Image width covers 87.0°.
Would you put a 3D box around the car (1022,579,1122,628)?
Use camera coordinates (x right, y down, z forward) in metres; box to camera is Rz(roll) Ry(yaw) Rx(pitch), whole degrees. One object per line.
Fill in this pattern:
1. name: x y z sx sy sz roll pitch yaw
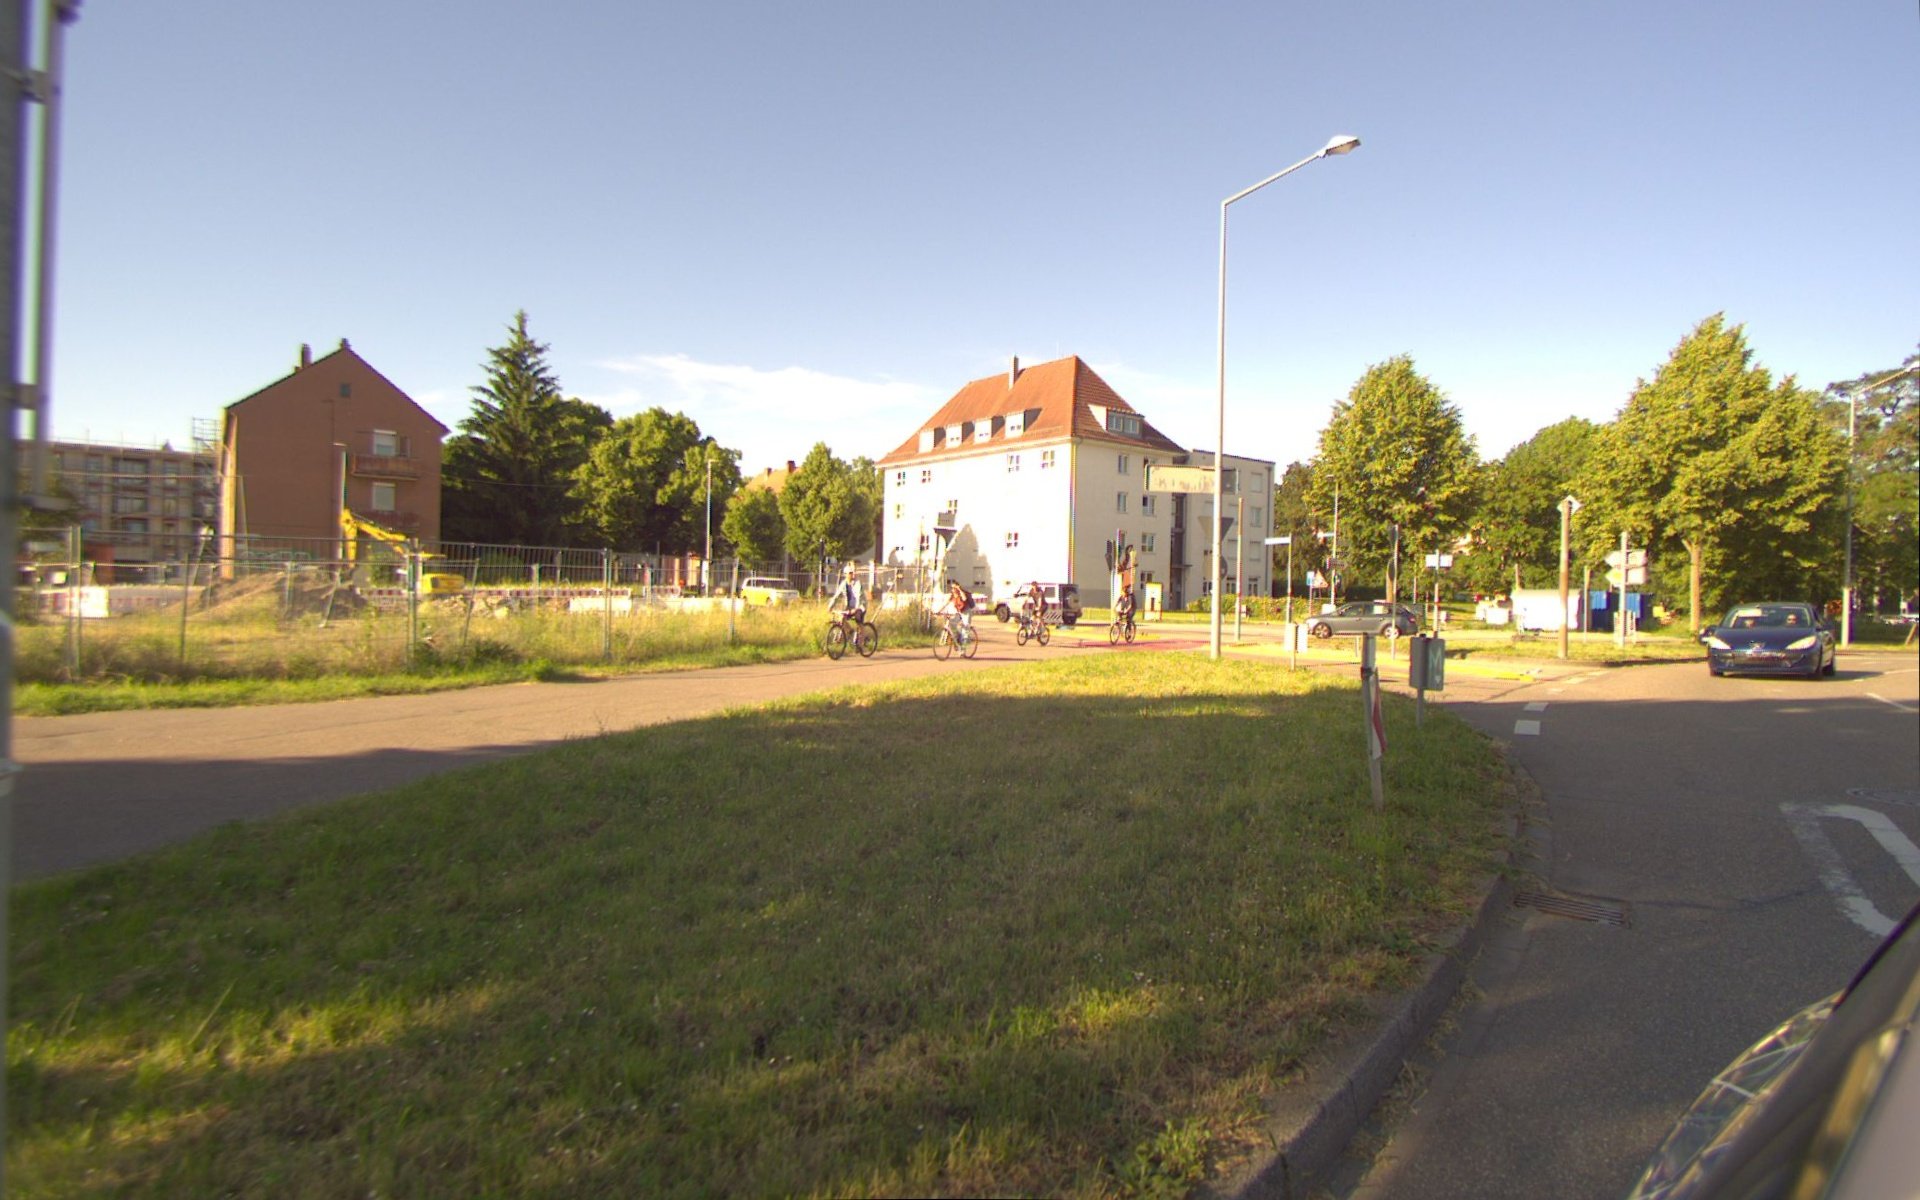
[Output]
1. car: 4.224 0.095 38.667 1.986 1.772 3.567 1 0 -33

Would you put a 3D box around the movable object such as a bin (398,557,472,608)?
1. movable object such as a bin: -21.826 -0.726 42.104 2.052 2.039 1.978 0 0 31

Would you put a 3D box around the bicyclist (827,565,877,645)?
1. bicyclist: -2.180 0.096 20.418 0.649 1.572 0.786 1 0 31

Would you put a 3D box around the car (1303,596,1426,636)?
1. car: 15.291 0.581 38.307 4.229 1.446 1.835 0 0 25

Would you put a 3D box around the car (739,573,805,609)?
1. car: -11.178 -0.535 59.966 1.963 2.039 4.470 0 1 -38

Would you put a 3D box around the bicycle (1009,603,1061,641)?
1. bicycle: 2.066 0.594 27.644 0.589 0.972 1.877 0 0 34

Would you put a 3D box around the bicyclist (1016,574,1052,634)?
1. bicyclist: 2.020 0.108 27.575 0.589 1.606 0.954 0 0 34

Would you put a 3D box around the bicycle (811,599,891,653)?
1. bicycle: -2.181 0.500 20.425 0.652 1.025 1.800 1 0 31

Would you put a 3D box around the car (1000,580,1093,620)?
1. car: 4.044 -0.003 47.865 1.863 1.807 4.255 0 0 -42

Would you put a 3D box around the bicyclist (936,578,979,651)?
1. bicyclist: -0.048 0.299 21.206 0.501 1.491 0.823 1 0 34

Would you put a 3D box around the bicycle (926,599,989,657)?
1. bicycle: -0.043 0.560 21.214 0.504 1.166 1.585 1 0 34

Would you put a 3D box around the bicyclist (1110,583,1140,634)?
1. bicyclist: 4.907 0.238 30.059 0.469 1.505 0.902 0 0 40

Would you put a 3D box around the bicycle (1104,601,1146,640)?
1. bicycle: 4.924 0.600 30.074 0.477 1.096 1.620 0 0 39

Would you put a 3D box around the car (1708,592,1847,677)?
1. car: 16.335 0.627 20.157 1.759 1.534 3.884 -1 -1 45

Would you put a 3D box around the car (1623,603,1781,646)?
1. car: 25.133 0.801 34.414 3.936 1.395 1.752 0 0 11
